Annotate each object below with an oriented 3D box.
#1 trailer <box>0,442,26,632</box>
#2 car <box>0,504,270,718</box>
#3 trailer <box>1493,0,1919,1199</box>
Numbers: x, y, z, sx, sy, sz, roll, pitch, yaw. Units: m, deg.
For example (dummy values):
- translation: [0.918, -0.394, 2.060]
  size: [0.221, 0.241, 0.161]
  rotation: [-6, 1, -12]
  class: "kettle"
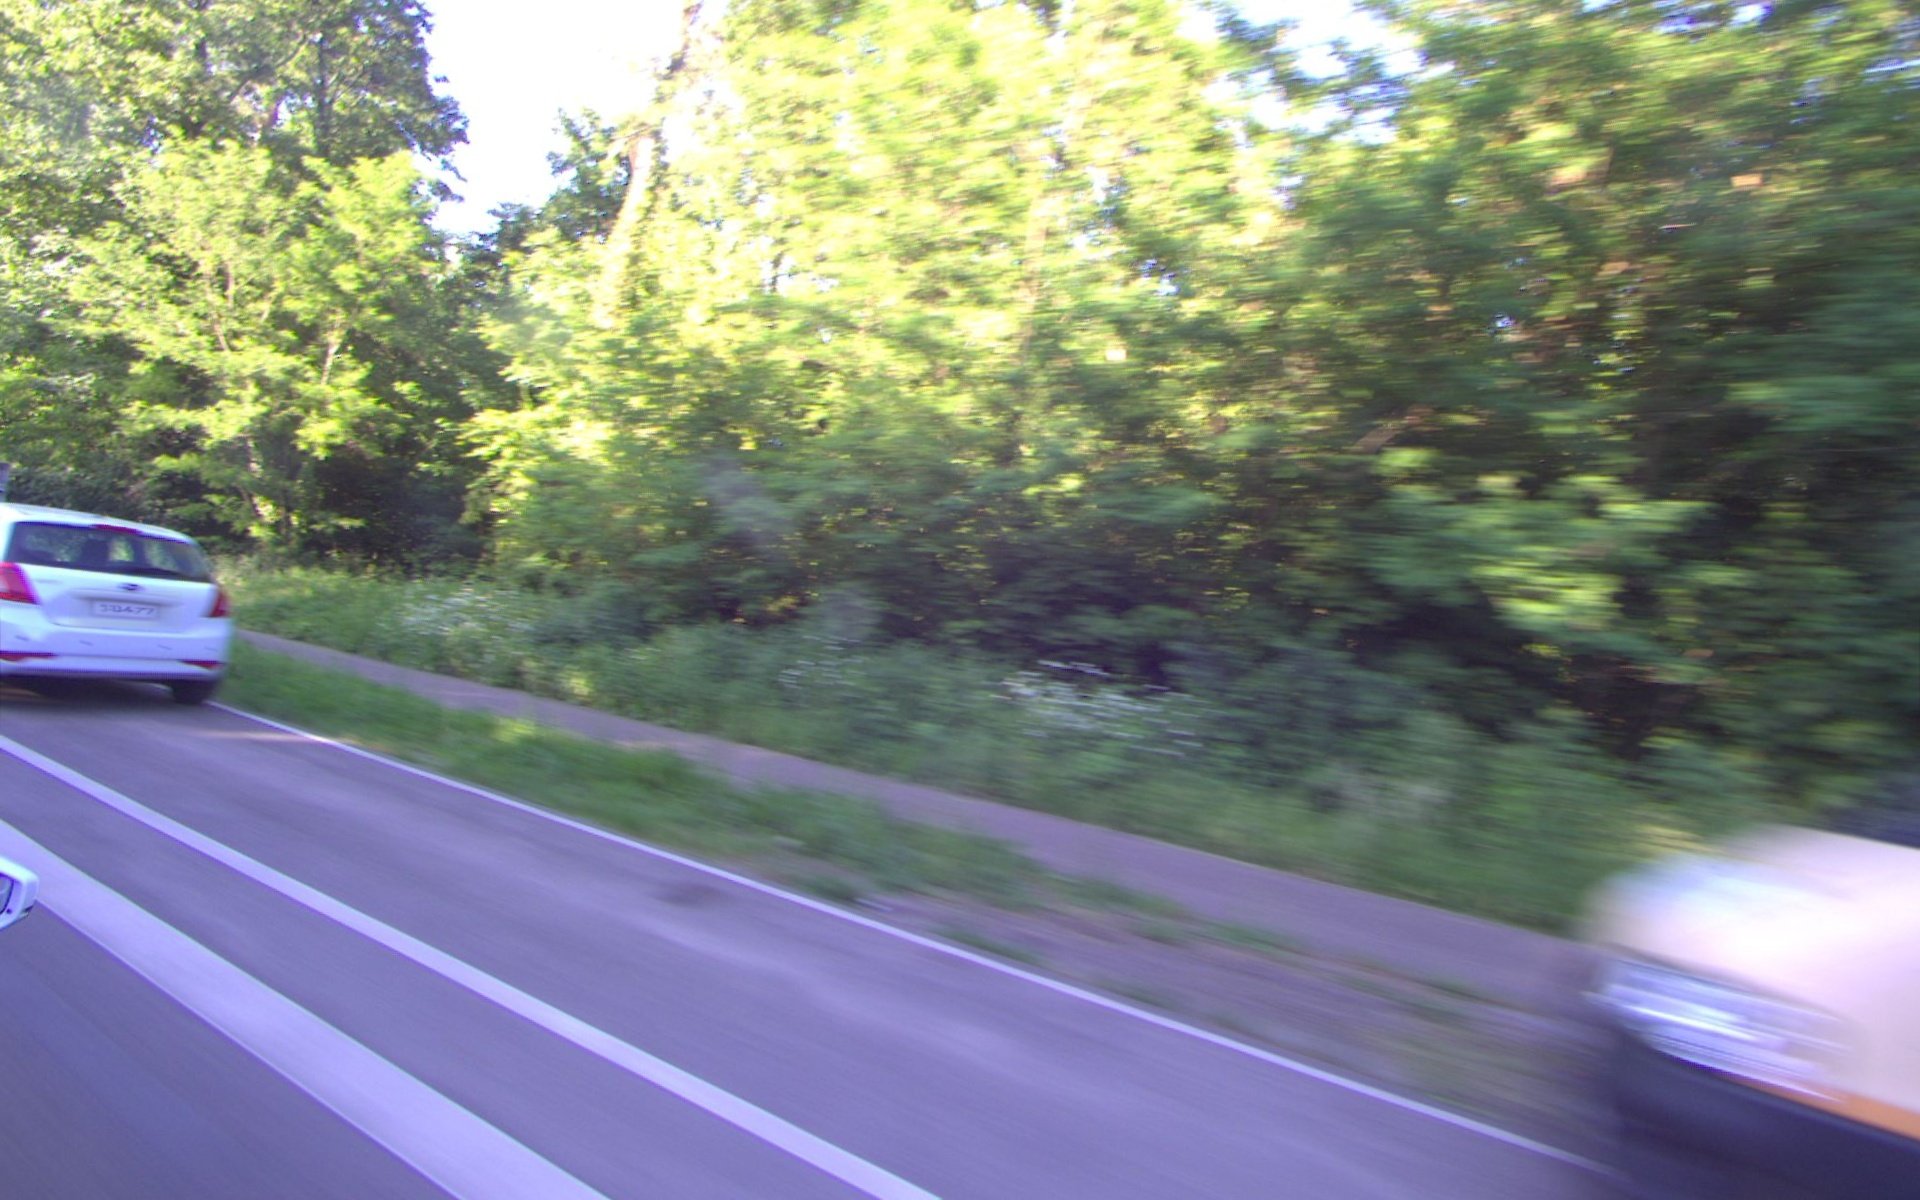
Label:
- translation: [-13.009, -0.949, 11.945]
  size: [3.480, 2.188, 1.757]
  rotation: [7, 0, 31]
  class: "trailer"
- translation: [-8.226, -0.068, 8.765]
  size: [4.494, 1.485, 1.891]
  rotation: [7, -1, 32]
  class: "car"
- translation: [5.977, 0.863, 0.657]
  size: [9.718, 2.872, 2.929]
  rotation: [6, -3, 31]
  class: "trailer"
